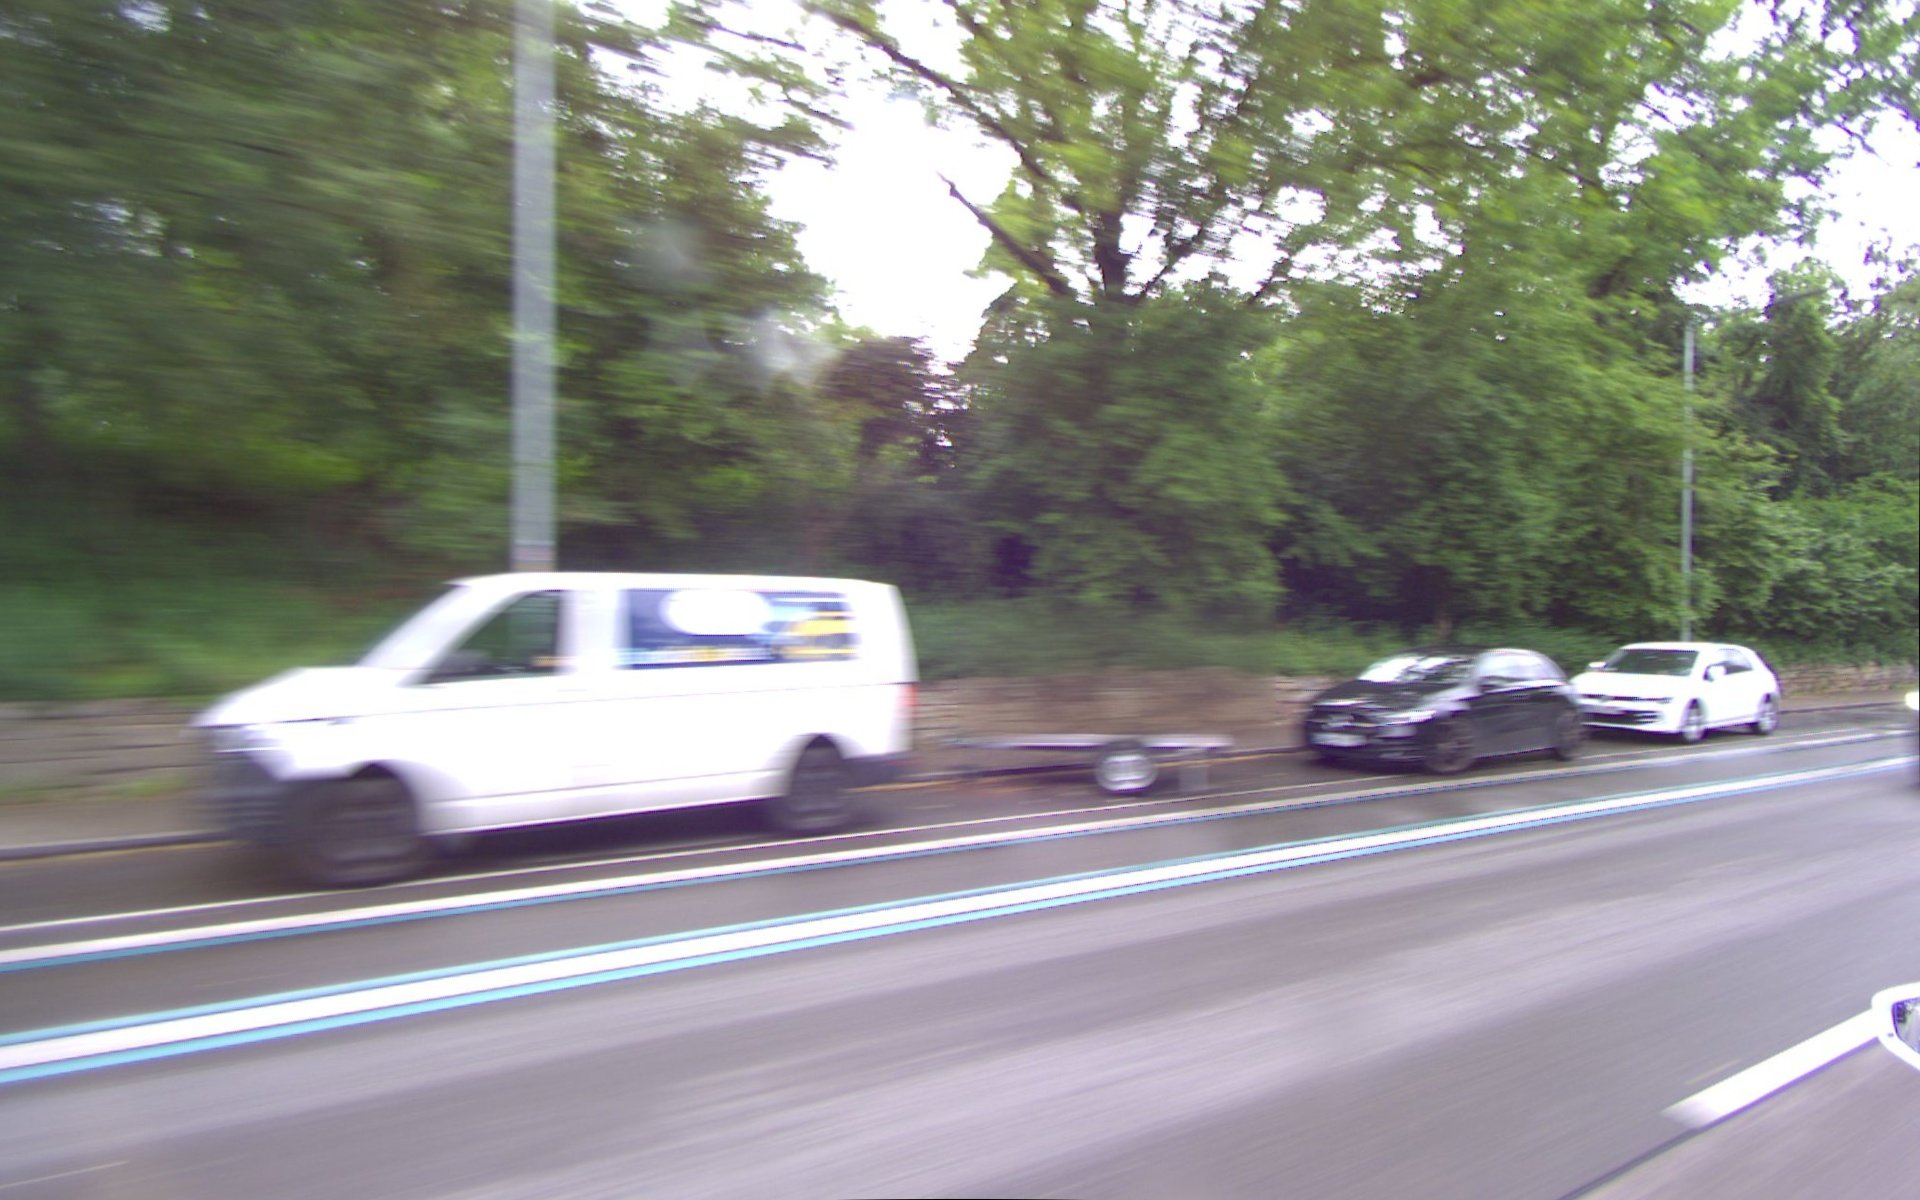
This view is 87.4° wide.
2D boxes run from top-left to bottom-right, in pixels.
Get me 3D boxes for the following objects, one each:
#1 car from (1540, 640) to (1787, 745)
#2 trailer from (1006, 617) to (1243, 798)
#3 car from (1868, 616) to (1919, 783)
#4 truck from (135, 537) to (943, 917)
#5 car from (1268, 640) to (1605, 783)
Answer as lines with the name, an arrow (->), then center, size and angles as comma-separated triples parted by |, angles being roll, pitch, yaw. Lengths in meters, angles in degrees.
car -> 11.421, 1.399, 16.235 | 4.308, 1.454, 1.745 | 1, -2, -32
trailer -> 1.651, 1.032, 10.264 | 2.220, 1.679, 1.352 | 0, -1, 8
car -> 11.878, 1.021, 10.697 | 4.425, 1.671, 2.029 | 1, -2, -30
truck -> -2.833, 0.742, 7.677 | 5.104, 2.040, 2.081 | 1, -1, -33
car -> 6.005, 1.246, 12.496 | 4.398, 1.417, 1.810 | 1, -1, -34
